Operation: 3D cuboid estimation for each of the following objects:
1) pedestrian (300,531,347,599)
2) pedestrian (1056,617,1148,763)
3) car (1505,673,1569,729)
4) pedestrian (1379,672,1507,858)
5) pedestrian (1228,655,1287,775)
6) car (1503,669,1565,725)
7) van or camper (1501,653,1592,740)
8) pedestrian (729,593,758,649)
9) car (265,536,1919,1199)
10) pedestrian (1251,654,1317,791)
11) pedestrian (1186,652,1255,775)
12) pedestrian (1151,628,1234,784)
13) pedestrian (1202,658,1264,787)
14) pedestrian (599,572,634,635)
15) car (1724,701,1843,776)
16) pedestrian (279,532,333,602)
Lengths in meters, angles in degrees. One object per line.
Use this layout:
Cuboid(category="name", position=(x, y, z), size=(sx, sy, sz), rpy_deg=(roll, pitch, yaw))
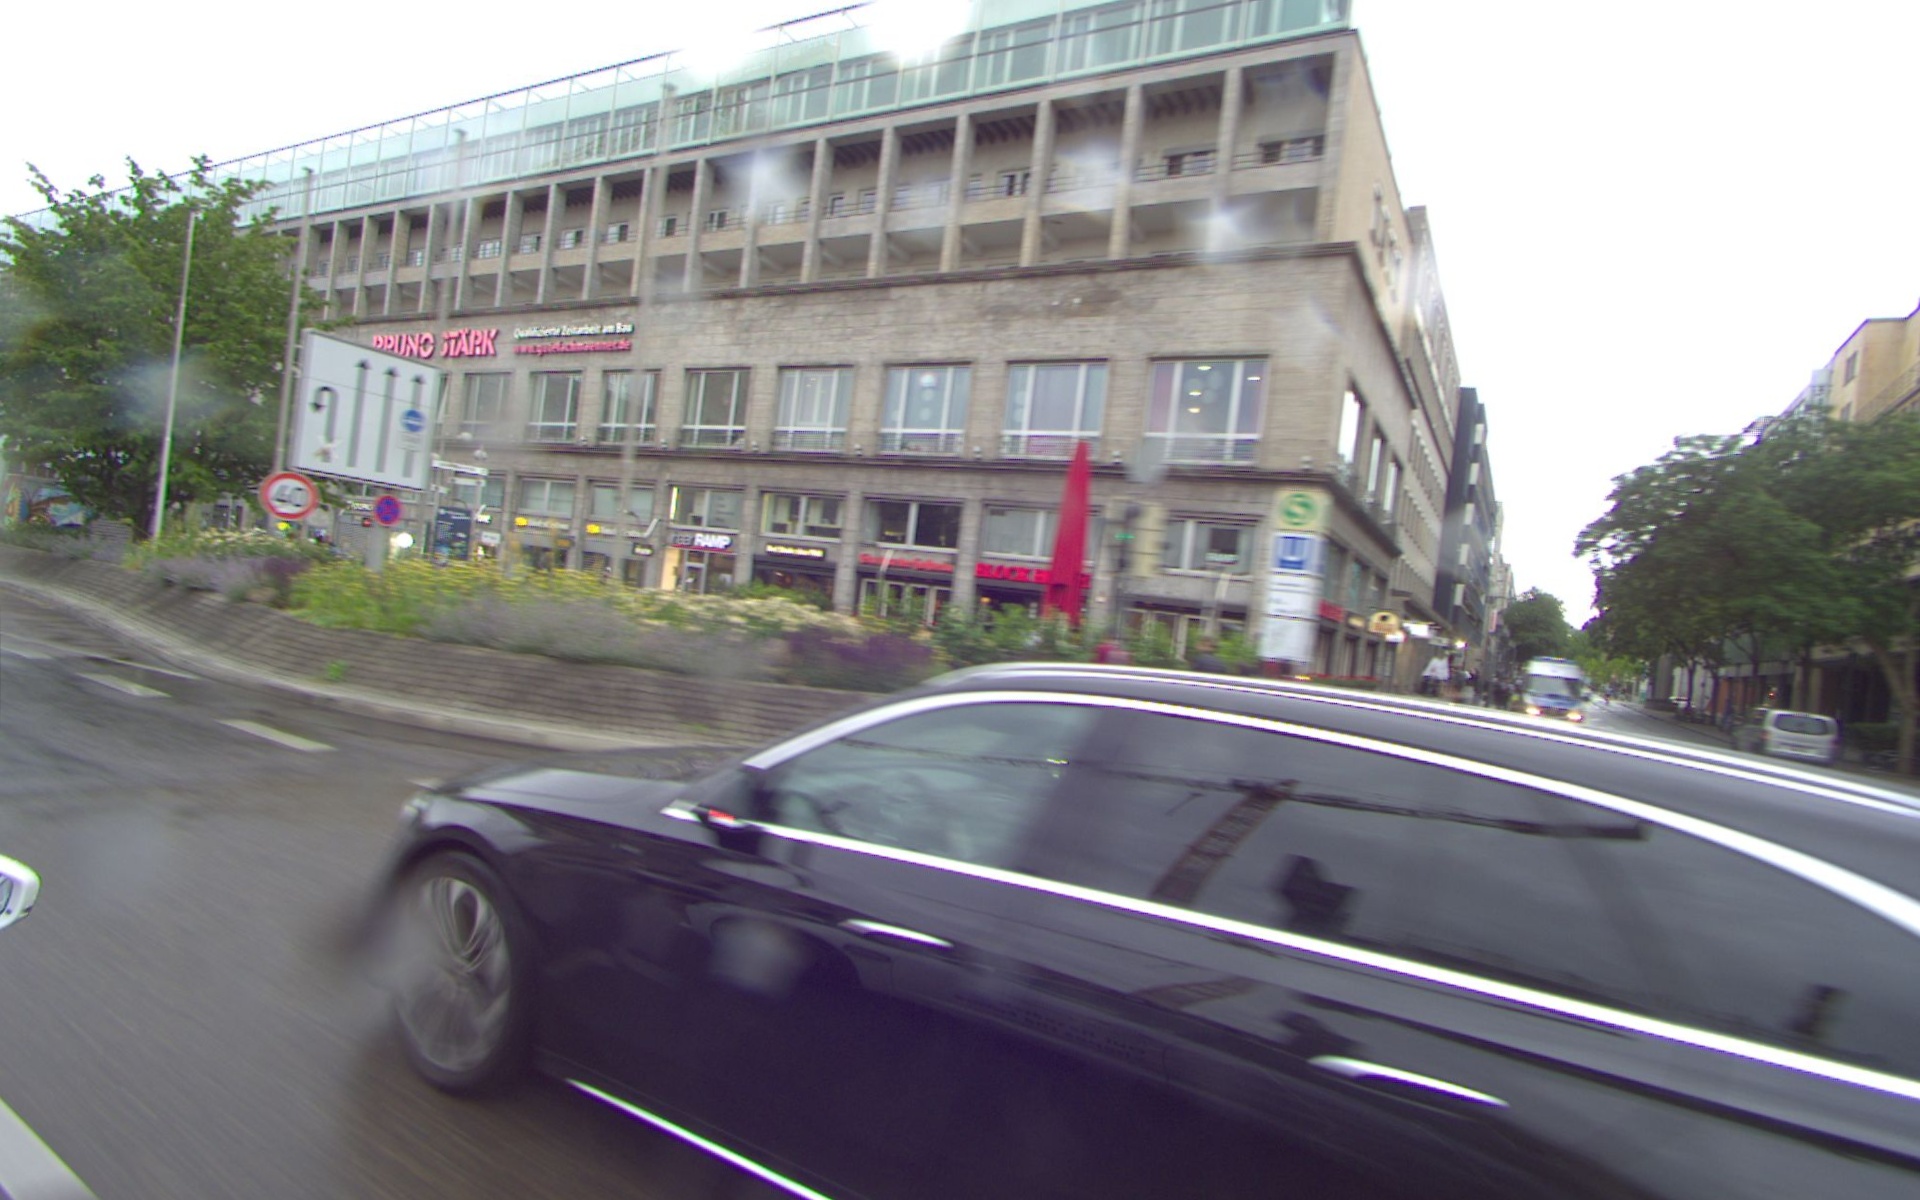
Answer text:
Cuboid(category="pedestrian", position=(-17.860, -0.979, 28.233), size=(0.853, 1.772, 0.614), rpy_deg=(6, -1, 28))
Cuboid(category="pedestrian", position=(1.870, 1.169, 13.236), size=(0.822, 1.772, 0.699), rpy_deg=(7, -1, 28))
Cuboid(category="car", position=(25.238, 4.389, 44.070), size=(2.126, 2.072, 4.408), rpy_deg=(6, -2, 30))
Cuboid(category="pedestrian", position=(5.245, 1.744, 10.910), size=(0.970, 1.783, 0.893), rpy_deg=(6, -1, 34))
Cuboid(category="pedestrian", position=(4.100, 1.576, 13.861), size=(0.505, 1.564, 0.424), rpy_deg=(6, 0, 34))
Cuboid(category="car", position=(28.162, 4.760, 49.369), size=(2.295, 2.322, 4.691), rpy_deg=(6, -1, 30))
Cuboid(category="van or camper", position=(21.658, 3.546, 37.017), size=(2.456, 2.671, 6.000), rpy_deg=(6, -2, 32))
Cuboid(category="pedestrian", position=(-7.210, 0.709, 33.483), size=(0.563, 1.772, 0.527), rpy_deg=(7, -1, 30))
Cuboid(category="car", position=(0.185, 0.805, 2.910), size=(4.622, 1.481, 1.821), rpy_deg=(6, -1, 32))
Cuboid(category="pedestrian", position=(4.154, 1.559, 12.886), size=(0.487, 1.649, 0.626), rpy_deg=(6, -1, 33))
Cuboid(category="pedestrian", position=(3.494, 1.512, 13.487), size=(0.582, 1.547, 0.555), rpy_deg=(6, -1, 34))
Cuboid(category="pedestrian", position=(2.886, 1.302, 12.497), size=(0.670, 1.811, 0.535), rpy_deg=(6, -1, 34))
Cuboid(category="pedestrian", position=(3.454, 1.533, 12.707), size=(0.463, 1.539, 0.499), rpy_deg=(6, -1, 34))
Cuboid(category="pedestrian", position=(-10.319, 0.109, 30.195), size=(0.625, 1.772, 0.532), rpy_deg=(7, -1, 28))
Cuboid(category="car", position=(26.883, 4.454, 33.036), size=(1.966, 1.948, 5.159), rpy_deg=(7, -1, 30))
Cuboid(category="pedestrian", position=(-17.725, -0.897, 27.280), size=(1.058, 1.772, 0.641), rpy_deg=(6, -1, 28))
